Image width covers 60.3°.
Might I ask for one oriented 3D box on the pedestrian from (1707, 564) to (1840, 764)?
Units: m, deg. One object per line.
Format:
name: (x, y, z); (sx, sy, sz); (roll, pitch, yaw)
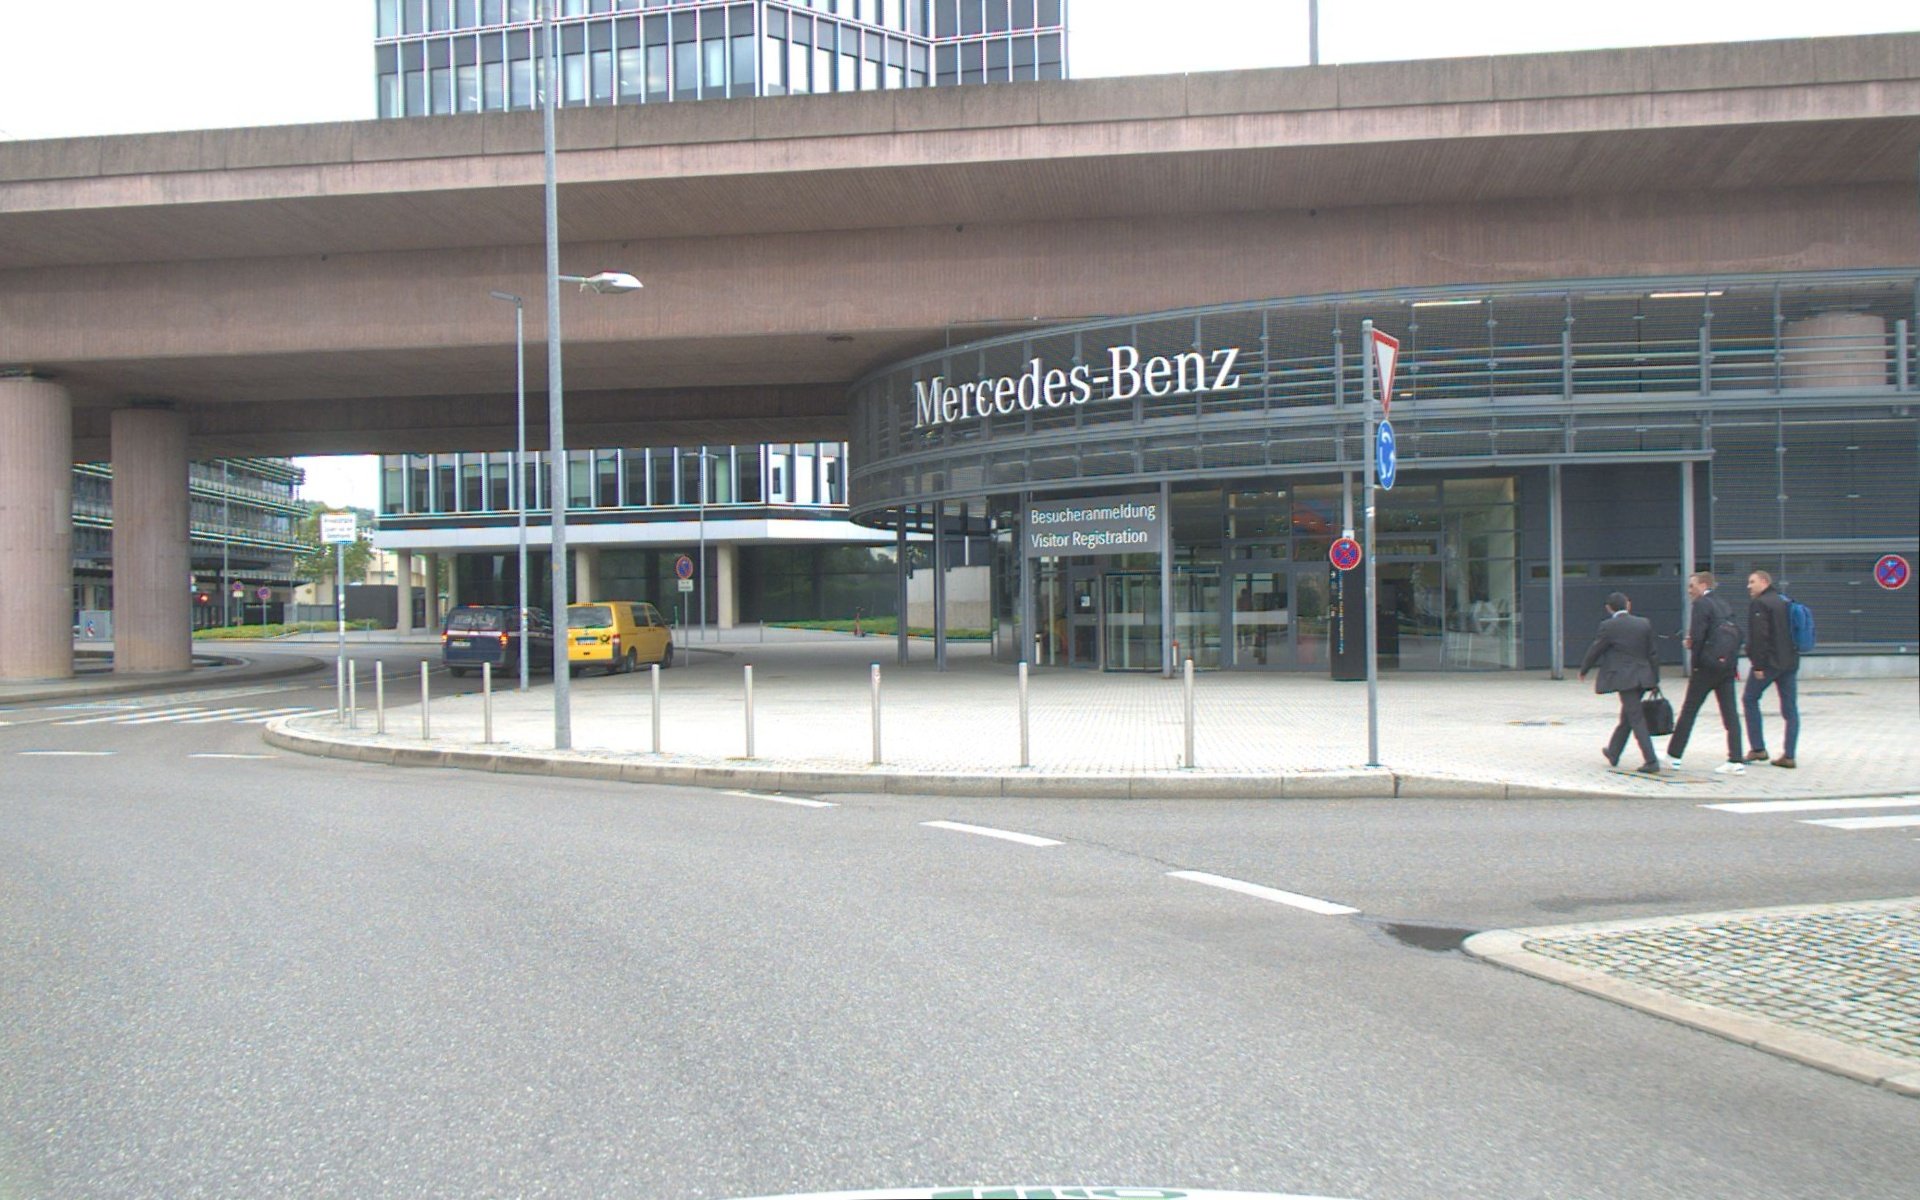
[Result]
pedestrian: (7.645, 0.583, 15.567); (0.846, 1.830, 0.782); (0, 0, -5)

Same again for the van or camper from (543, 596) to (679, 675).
van or camper: (-9.553, 0.934, 45.678); (2.304, 2.034, 4.509); (0, 0, 7)

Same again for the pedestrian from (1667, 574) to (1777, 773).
pedestrian: (6.816, 0.633, 14.825); (0.768, 1.735, 0.773); (0, 0, 14)

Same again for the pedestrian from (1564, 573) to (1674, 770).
pedestrian: (5.973, 0.625, 15.022); (0.844, 1.735, 0.773); (0, 0, 15)

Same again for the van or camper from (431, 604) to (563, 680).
van or camper: (-12.605, 1.098, 45.396); (2.102, 1.926, 4.903); (0, 0, 2)

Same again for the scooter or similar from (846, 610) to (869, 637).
scooter or similar: (-4.434, 1.013, 71.530); (0.687, 1.124, 1.495); (0, 0, -16)
